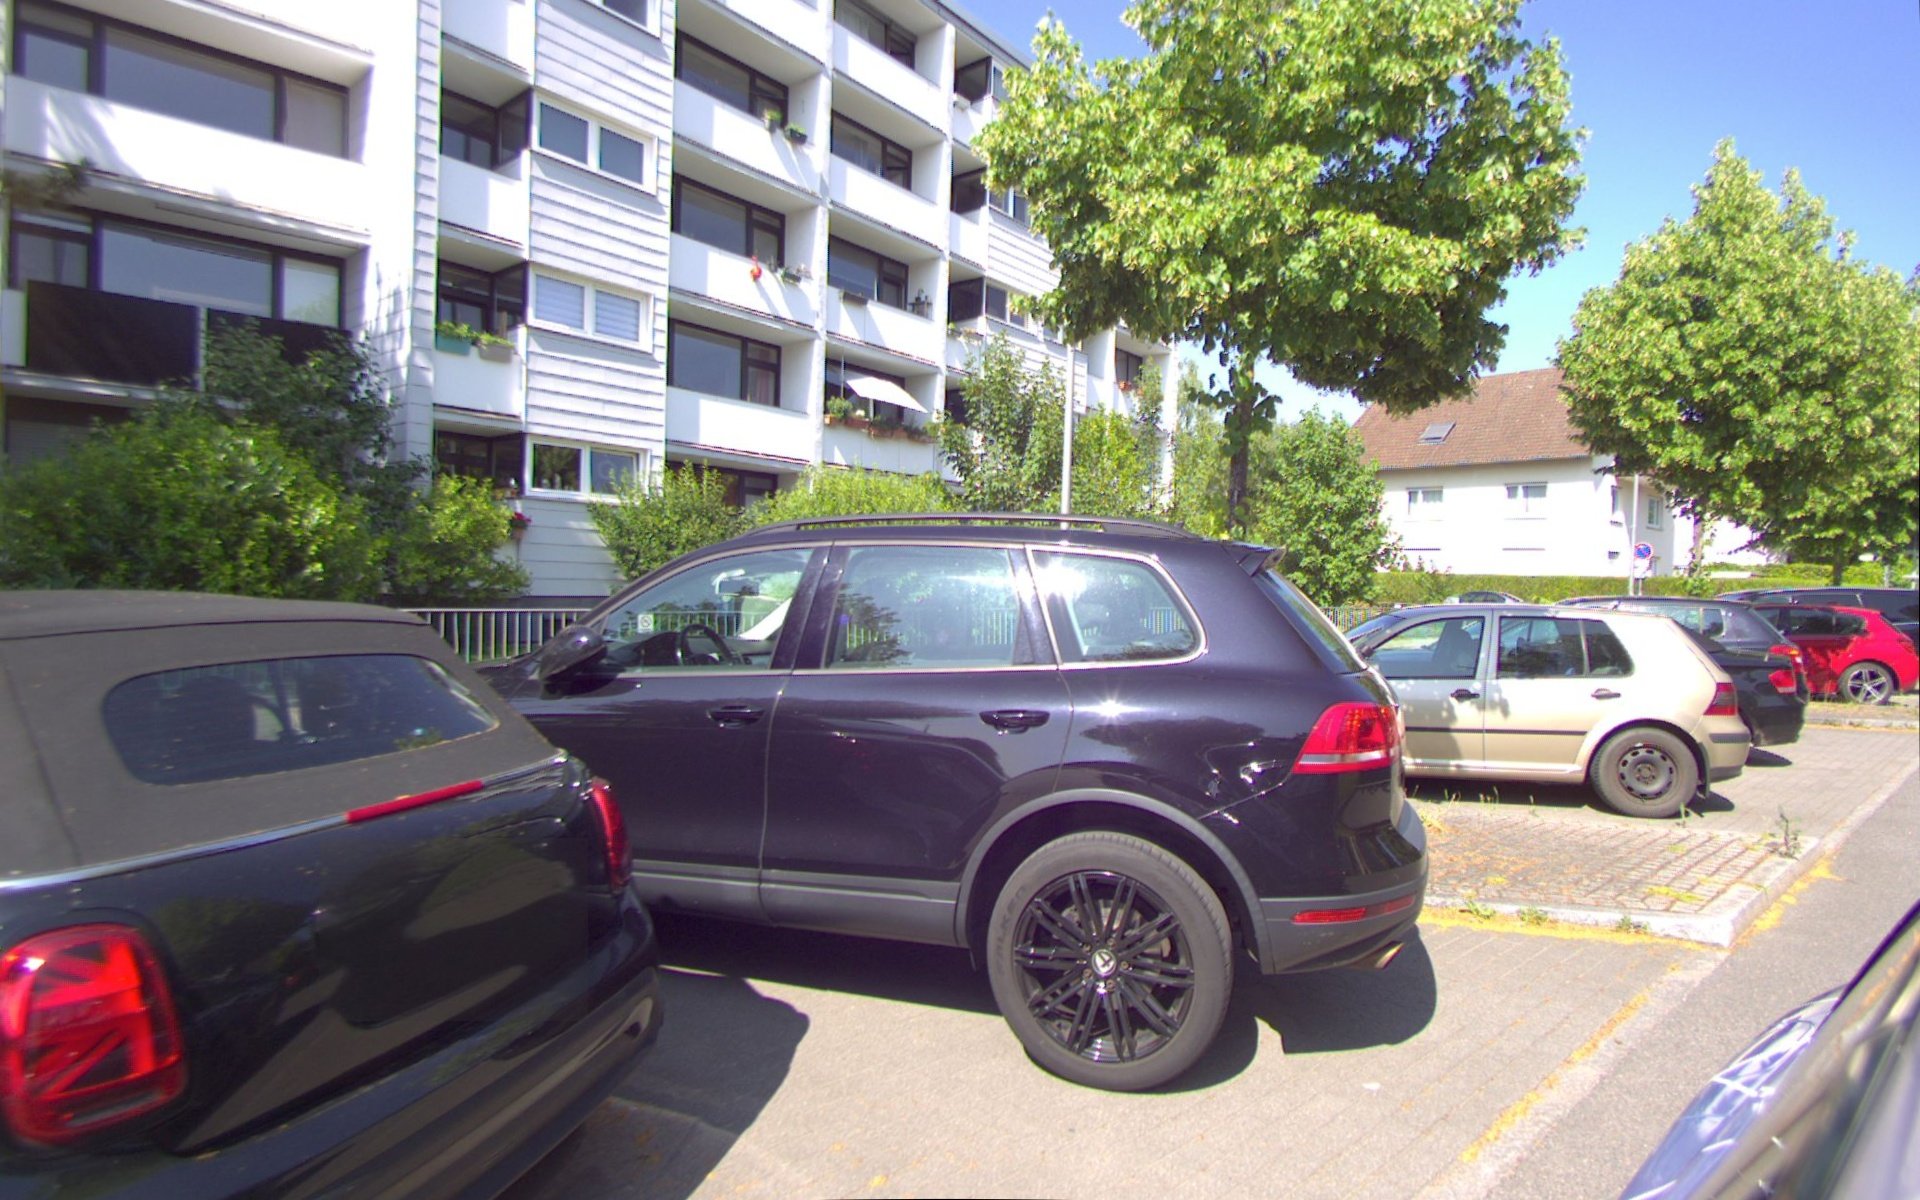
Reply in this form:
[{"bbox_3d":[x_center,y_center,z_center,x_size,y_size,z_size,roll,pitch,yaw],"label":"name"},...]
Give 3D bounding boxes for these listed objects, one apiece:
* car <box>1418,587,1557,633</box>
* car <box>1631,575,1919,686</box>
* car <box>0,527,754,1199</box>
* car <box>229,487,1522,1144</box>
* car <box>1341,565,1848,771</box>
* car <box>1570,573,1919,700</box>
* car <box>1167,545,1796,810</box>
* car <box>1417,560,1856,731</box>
[{"bbox_3d":[19.258,0.332,37.087,1.778,1.415,4.125,4,0,-40],"label":"car"},{"bbox_3d":[14.085,0.462,17.117,4.063,1.660,2.034,2,1,16],"label":"car"},{"bbox_3d":[-2.724,0.596,2.594,3.942,1.492,1.761,1,1,15],"label":"car"},{"bbox_3d":[-0.518,0.467,4.198,4.686,1.681,1.742,2,1,20],"label":"car"},{"bbox_3d":[6.062,0.538,10.184,3.964,1.660,1.735,2,1,29],"label":"car"},{"bbox_3d":[11.629,0.462,15.027,3.937,1.660,1.875,1,2,11],"label":"car"},{"bbox_3d":[3.695,0.454,7.919,3.944,1.660,1.744,2,1,16],"label":"car"},{"bbox_3d":[7.637,0.404,11.874,3.968,1.660,1.781,2,1,31],"label":"car"}]
